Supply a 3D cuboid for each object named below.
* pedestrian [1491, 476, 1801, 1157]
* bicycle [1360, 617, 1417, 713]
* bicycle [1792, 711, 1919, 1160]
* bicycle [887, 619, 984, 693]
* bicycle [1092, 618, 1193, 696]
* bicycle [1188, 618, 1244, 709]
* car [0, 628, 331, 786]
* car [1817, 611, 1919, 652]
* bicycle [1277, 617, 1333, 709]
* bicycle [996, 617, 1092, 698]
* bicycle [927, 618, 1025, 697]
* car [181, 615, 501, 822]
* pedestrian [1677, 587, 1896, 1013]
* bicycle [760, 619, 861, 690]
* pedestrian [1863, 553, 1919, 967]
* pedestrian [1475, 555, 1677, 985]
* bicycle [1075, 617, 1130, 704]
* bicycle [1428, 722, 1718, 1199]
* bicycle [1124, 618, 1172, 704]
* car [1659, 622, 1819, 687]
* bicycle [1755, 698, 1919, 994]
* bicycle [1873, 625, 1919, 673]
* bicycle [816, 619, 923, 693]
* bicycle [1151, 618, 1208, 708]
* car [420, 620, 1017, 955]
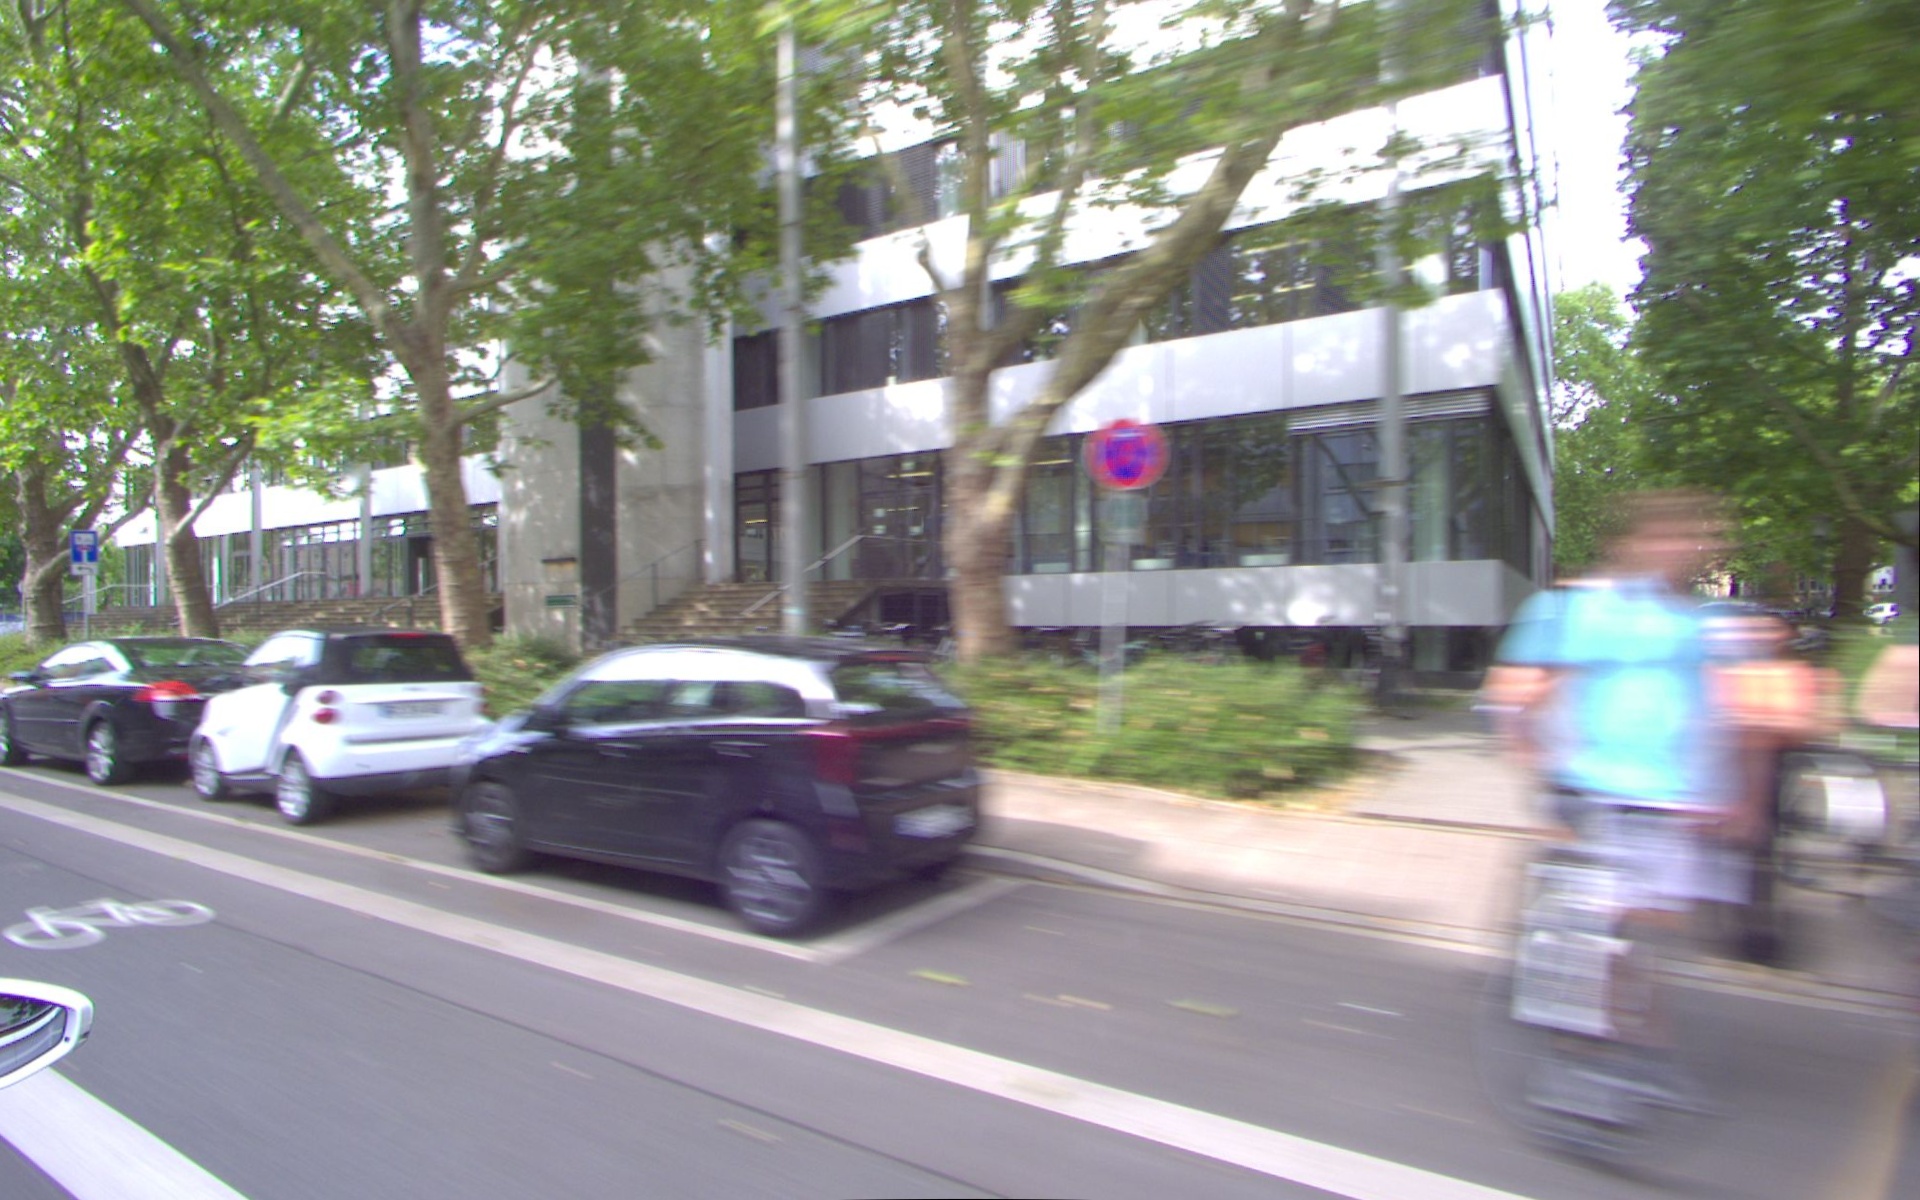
[{"bbox_3d":[2.168,0.631,3.249,0.732,1.959,0.475,0,-1,22],"label":"pedestrian"},{"bbox_3d":[5.550,0.799,12.936,0.595,1.132,1.673,0,0,26],"label":"bicycle"},{"bbox_3d":[2.941,0.971,2.559,0.543,1.233,1.794,0,-2,15],"label":"bicycle"},{"bbox_3d":[-0.379,0.893,16.628,0.664,1.132,1.911,0,0,32],"label":"bicycle"},{"bbox_3d":[2.767,0.851,15.211,1.415,1.132,0.490,0,1,27],"label":"bicycle"},{"bbox_3d":[3.477,0.820,13.533,0.461,1.132,1.539,0,0,25],"label":"bicycle"},{"bbox_3d":[-9.040,1.051,11.073,4.356,1.443,1.696,-1,-2,30],"label":"car"},{"bbox_3d":[55.875,1.925,61.401,4.719,2.438,2.222,-1,-2,30],"label":"car"},{"bbox_3d":[4.620,0.811,13.350,0.461,1.132,1.443,0,0,29],"label":"bicycle"},{"bbox_3d":[1.327,0.851,15.432,0.664,1.132,1.911,0,0,32],"label":"bicycle"},{"bbox_3d":[0.286,0.864,15.788,0.664,1.132,1.911,0,0,32],"label":"bicycle"},{"bbox_3d":[-5.535,0.942,8.930,2.564,1.563,1.532,-1,-2,35],"label":"car"},{"bbox_3d":[3.609,0.805,4.439,0.645,1.679,0.720,0,-1,32],"label":"pedestrian"},{"bbox_3d":[-2.580,0.924,17.530,0.664,1.132,1.911,0,0,32],"label":"bicycle"},{"bbox_3d":[4.791,0.732,4.695,0.693,1.879,0.720,0,-1,32],"label":"pedestrian"},{"bbox_3d":[2.975,0.746,4.872,0.769,1.840,0.869,0,-1,32],"label":"pedestrian"},{"bbox_3d":[2.052,0.829,14.286,0.611,1.132,1.698,0,0,13],"label":"bicycle"},{"bbox_3d":[1.981,1.059,3.452,0.543,1.119,1.737,0,-2,21],"label":"bicycle"},{"bbox_3d":[2.685,0.831,14.224,0.502,1.132,1.380,0,0,17],"label":"bicycle"},{"bbox_3d":[30.901,2.124,39.945,4.719,2.438,2.222,-1,-2,30],"label":"car"},{"bbox_3d":[4.562,1.117,4.953,0.454,1.146,1.770,0,-2,21],"label":"bicycle"},{"bbox_3d":[18.571,0.926,19.122,1.606,0.889,0.475,-3,-2,39],"label":"bicycle"},{"bbox_3d":[-1.485,0.899,16.796,0.664,1.132,2.075,0,0,32],"label":"bicycle"},{"bbox_3d":[2.987,0.822,13.574,0.461,1.132,1.378,0,0,25],"label":"bicycle"},{"bbox_3d":[-1.590,0.908,6.196,3.608,1.521,1.526,-1,-2,33],"label":"car"}]
